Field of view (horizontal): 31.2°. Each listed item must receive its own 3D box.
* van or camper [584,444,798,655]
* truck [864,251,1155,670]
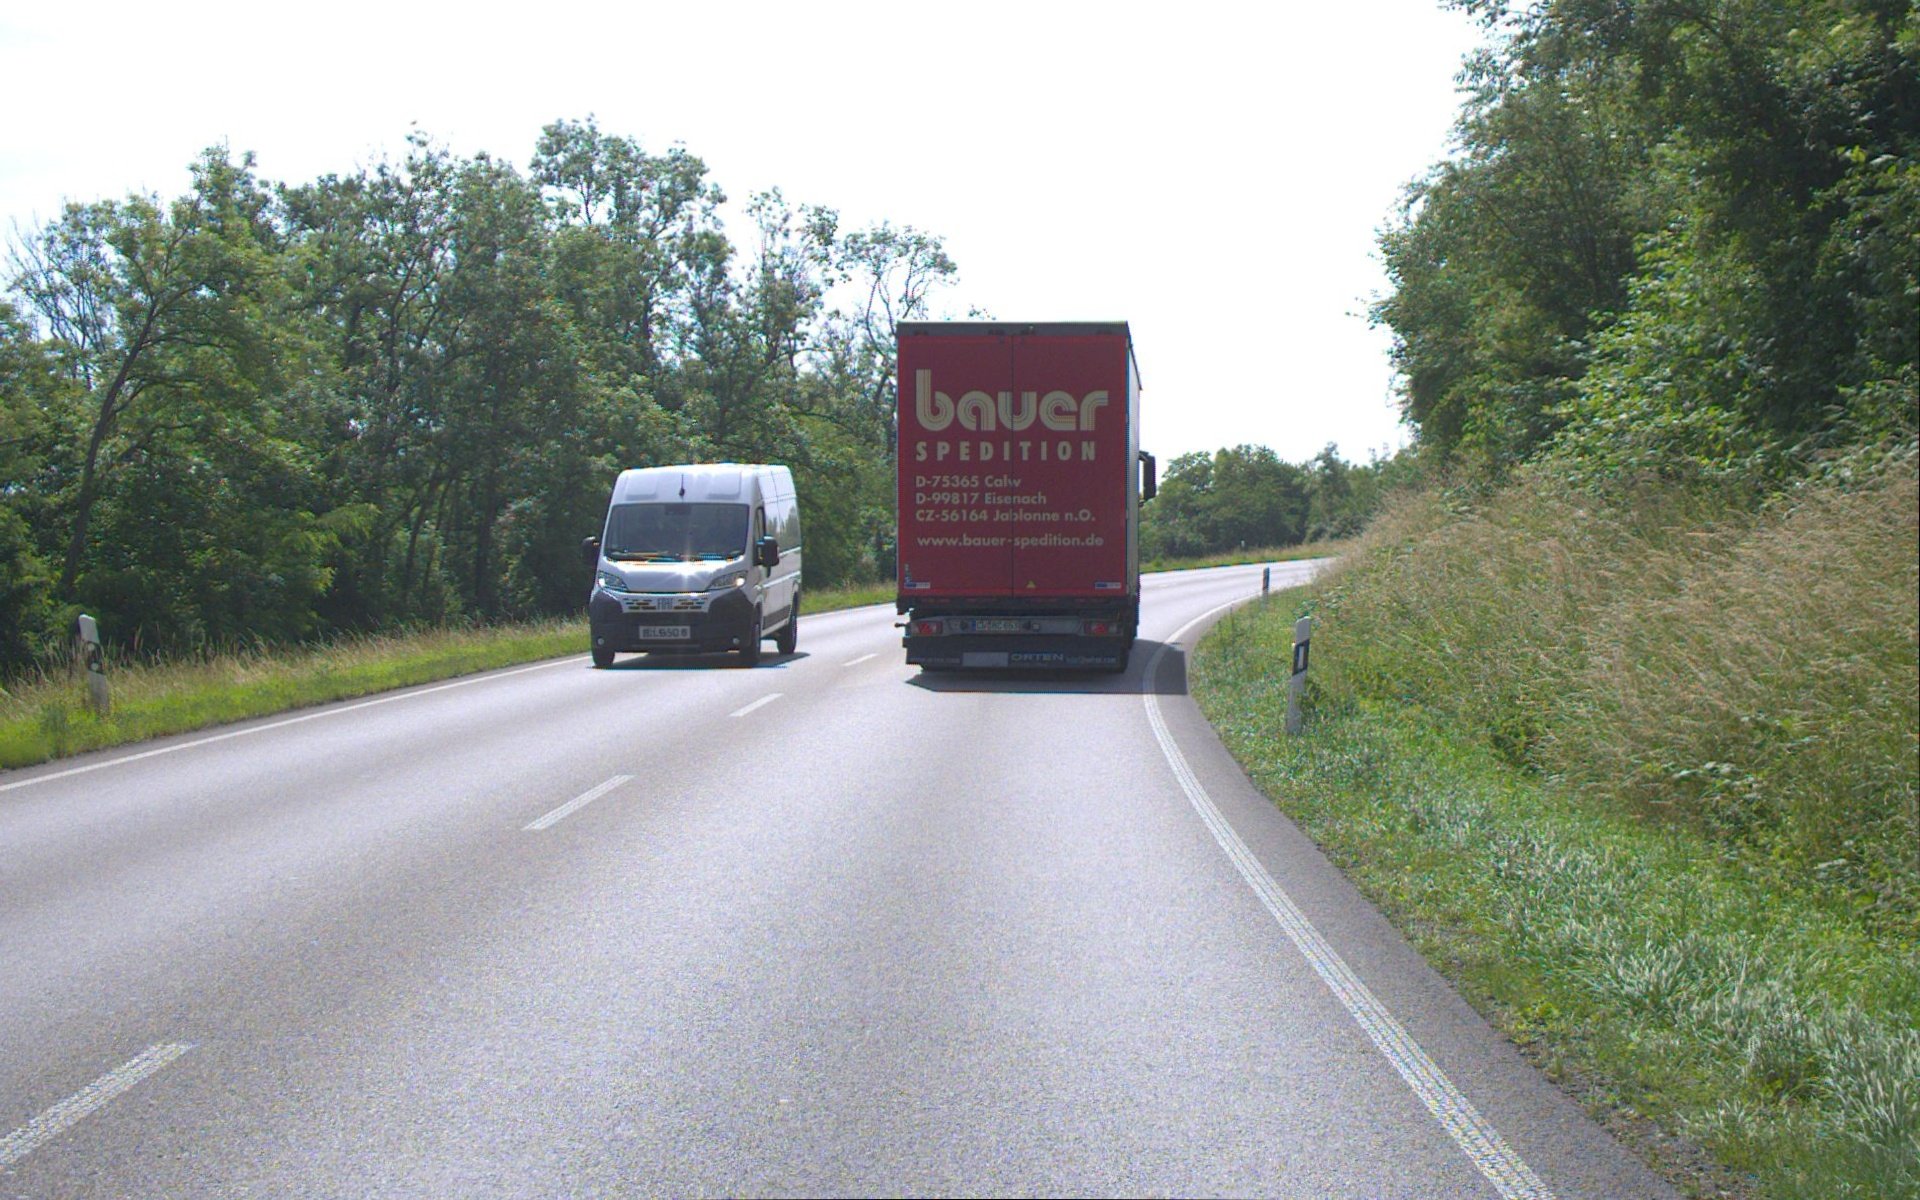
[{"bbox_3d":[-3.370,-0.661,44.305,2.208,2.519,6.134,0,1,1],"label":"van or camper"},{"bbox_3d":[0.572,-1.615,43.051,3.112,4.490,12.168,0,1,0],"label":"truck"}]
